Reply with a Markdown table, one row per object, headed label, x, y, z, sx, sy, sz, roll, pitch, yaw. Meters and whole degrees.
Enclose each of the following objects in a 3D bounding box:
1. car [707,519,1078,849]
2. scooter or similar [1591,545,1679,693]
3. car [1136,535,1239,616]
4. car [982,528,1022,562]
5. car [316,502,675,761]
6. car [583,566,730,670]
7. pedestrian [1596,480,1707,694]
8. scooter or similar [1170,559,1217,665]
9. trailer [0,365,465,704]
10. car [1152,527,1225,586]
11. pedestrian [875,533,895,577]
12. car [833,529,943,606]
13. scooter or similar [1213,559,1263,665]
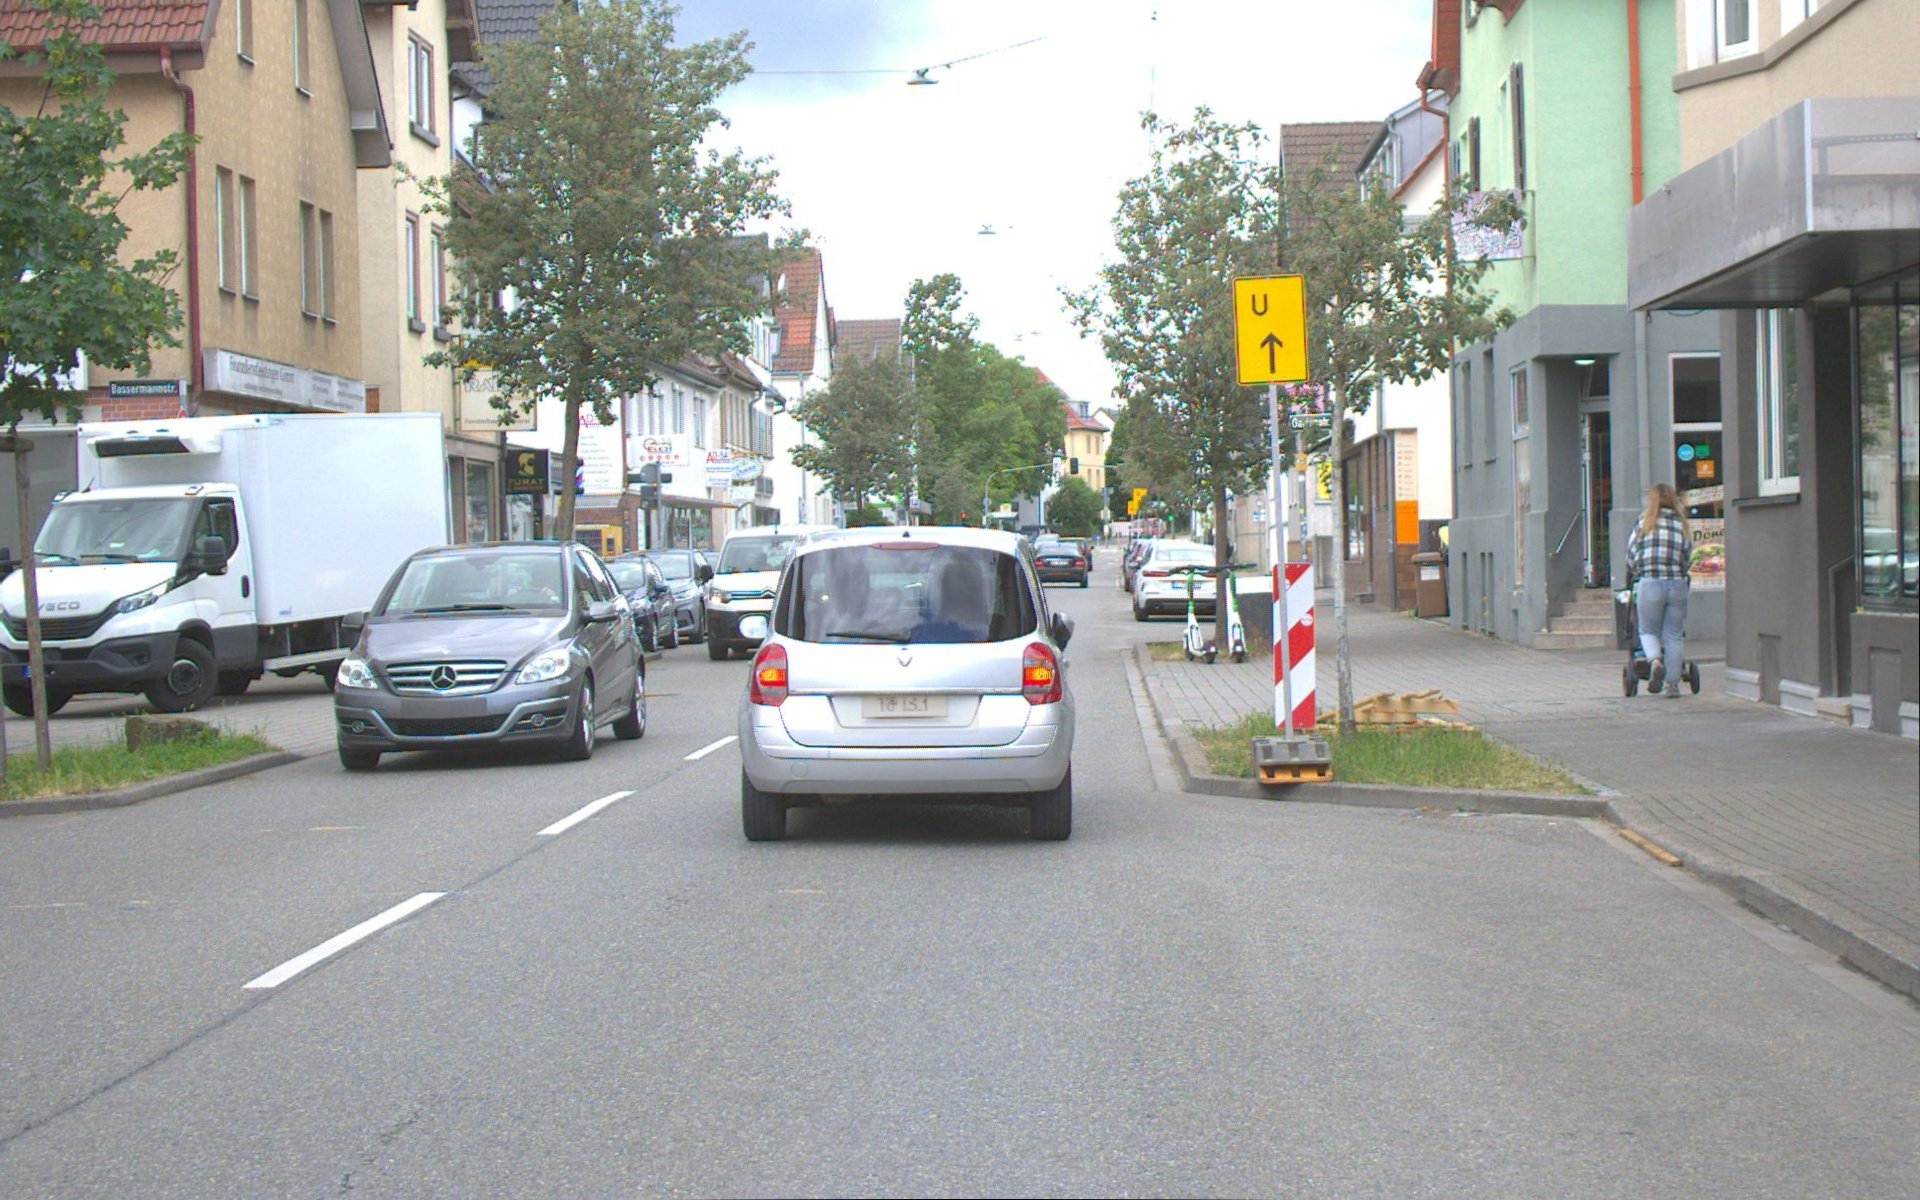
| label | x | y | z | sx | sy | sz | roll | pitch | yaw |
| --- | --- | --- | --- | --- | --- | --- | --- | --- | --- |
| car | -0.256 | 0.369 | 18.451 | 1.682 | 1.560 | 3.993 | 0 | 1 | 3 |
| scooter or similar | 5.687 | 0.151 | 29.000 | 0.589 | 1.228 | 0.891 | 0 | 1 | 2 |
| car | 4.218 | -0.475 | 64.019 | 1.831 | 1.441 | 4.331 | 0 | 1 | 3 |
| car | 2.255 | -2.945 | 185.199 | 1.901 | 1.731 | 4.365 | -2 | 1 | 3 |
| car | -3.494 | 0.197 | 26.678 | 1.994 | 1.790 | 4.277 | -2 | 1 | 2 |
| car | -4.523 | 0.244 | 51.672 | 1.682 | 1.420 | 3.931 | -2 | 1 | 2 |
| pedestrian | 5.640 | -0.112 | 28.081 | 0.750 | 1.714 | 0.900 | 0 | 1 | 3 |
| scooter or similar | 2.792 | 0.129 | 41.210 | 0.502 | 1.231 | 1.942 | 0 | 1 | 2 |
| trailer | -7.935 | -0.678 | 36.299 | 2.505 | 3.208 | 7.129 | 0 | 1 | 18 |
| car | 5.937 | -1.139 | 89.562 | 1.831 | 1.492 | 3.993 | 0 | 1 | 3 |
| pedestrian | -3.073 | -1.828 | 140.326 | 0.762 | 1.785 | 0.890 | 0 | 1 | 2 |
| car | -1.417 | -0.666 | 69.461 | 1.843 | 1.428 | 4.543 | -2 | 1 | 3 |
| scooter or similar | 3.326 | 0.130 | 41.192 | 0.502 | 1.231 | 1.942 | 0 | 1 | 2 |
